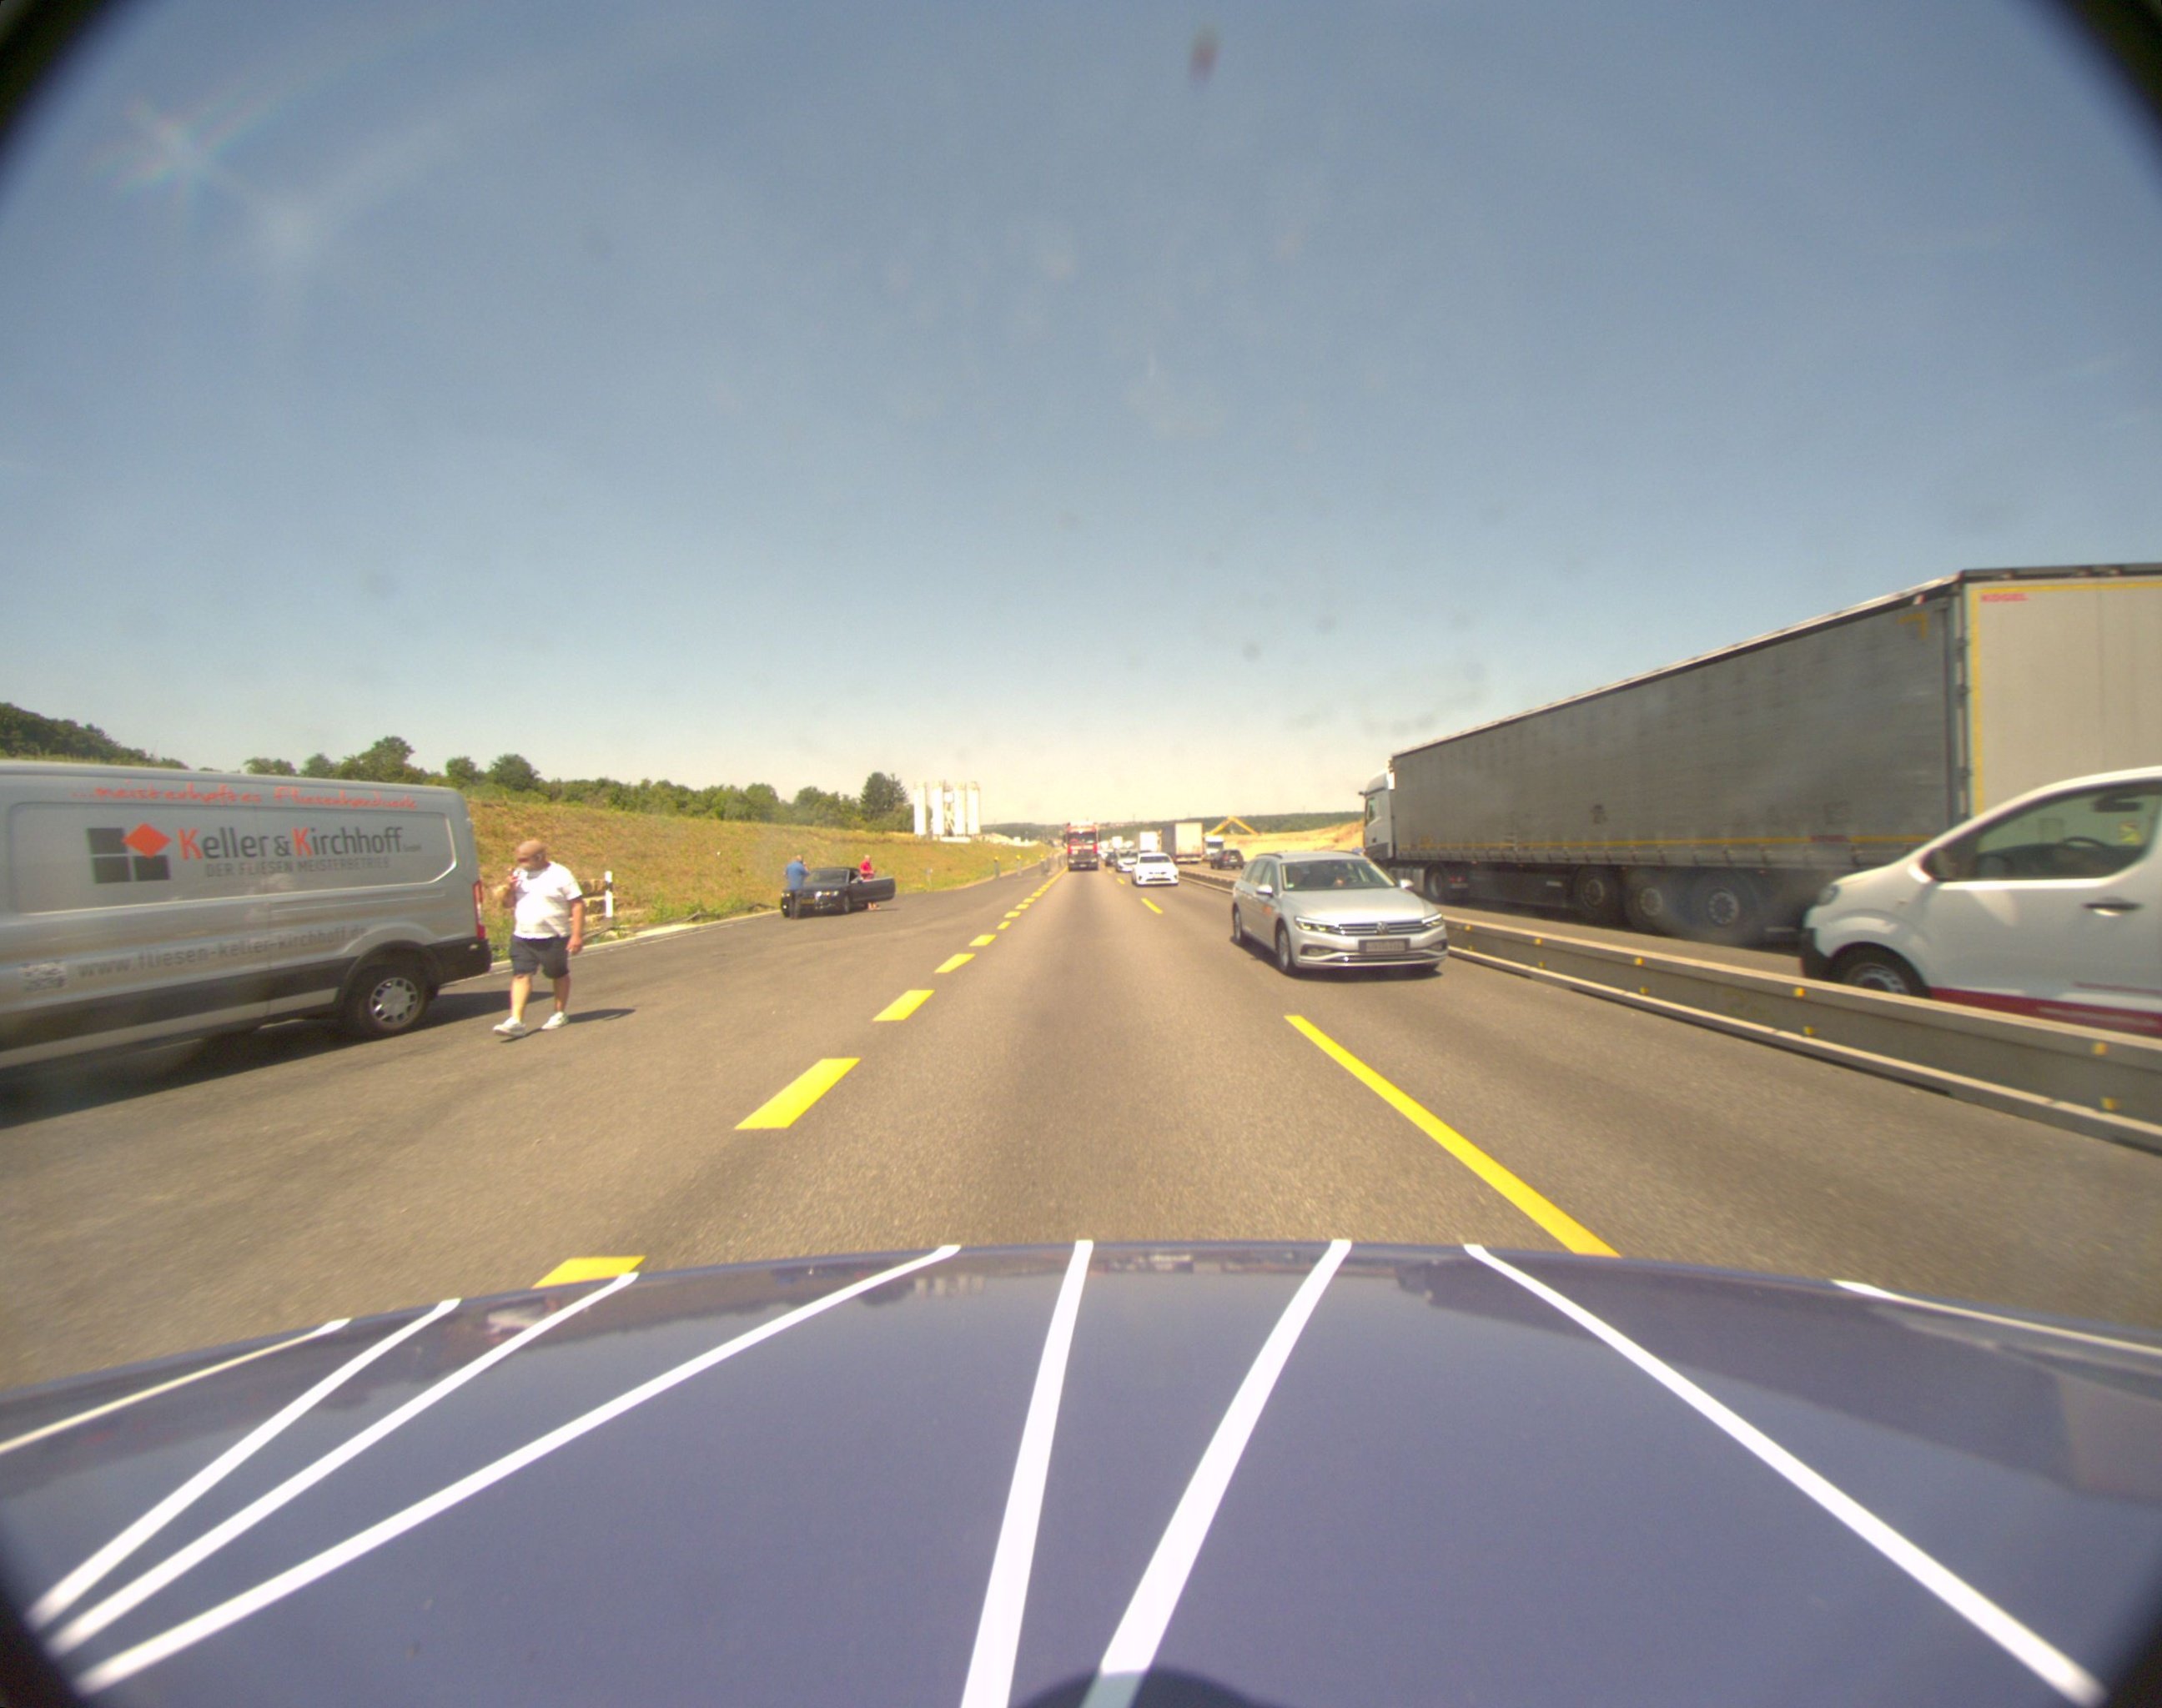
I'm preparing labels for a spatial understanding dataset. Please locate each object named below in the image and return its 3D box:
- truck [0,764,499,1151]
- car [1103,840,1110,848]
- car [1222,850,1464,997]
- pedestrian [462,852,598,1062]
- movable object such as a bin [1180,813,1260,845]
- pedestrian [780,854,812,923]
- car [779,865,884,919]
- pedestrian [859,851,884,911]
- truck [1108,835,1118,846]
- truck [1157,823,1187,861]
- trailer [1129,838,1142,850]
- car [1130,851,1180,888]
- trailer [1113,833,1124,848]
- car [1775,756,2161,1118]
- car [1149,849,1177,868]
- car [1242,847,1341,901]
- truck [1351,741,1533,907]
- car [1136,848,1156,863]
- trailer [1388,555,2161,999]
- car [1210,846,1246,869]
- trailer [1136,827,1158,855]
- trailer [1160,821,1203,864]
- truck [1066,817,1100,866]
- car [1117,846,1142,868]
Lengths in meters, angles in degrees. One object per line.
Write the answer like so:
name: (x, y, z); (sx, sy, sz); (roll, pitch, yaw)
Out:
truck: (-7.835, 0.689, 5.440); (2.134, 2.442, 5.928); (-3, 0, 8)
car: (7.799, -2.999, 231.565); (1.999, 2.279, 5.342); (-2, 1, 0)
car: (3.203, 0.735, 10.233); (1.804, 1.499, 4.100); (-2, 0, 0)
pedestrian: (-5.131, 0.907, 7.132); (0.726, 1.818, 0.719); (-3, 2, -15)
movable object such as a bin: (33.401, -5.991, 182.874); (18.266, 6.735, 3.387); (-2, 2, 0)
pedestrian: (-7.721, 0.929, 20.623); (0.626, 1.817, 0.642); (-3, 1, -11)
car: (-7.536, 1.082, 23.407); (1.658, 1.418, 4.545); (0, 0, 1)
pedestrian: (-6.624, 0.845, 24.024); (0.643, 1.817, 0.558); (-3, 1, -20)
truck: (10.444, -4.491, 249.527); (2.651, 3.695, 9.480); (-2, 1, 1)
truck: (10.294, -1.372, 86.280); (2.598, 4.030, 5.149); (-2, 1, 0)
trailer: (11.554, -2.123, 161.499); (2.317, 2.671, 6.754); (0, 1, -1)
car: (3.239, 0.620, 33.794); (1.875, 1.390, 4.029); (-2, 1, 1)
trailer: (10.995, -4.070, 223.892); (2.861, 4.071, 13.649); (-1, 1, 0)
car: (6.612, 0.416, 3.595); (1.830, 1.916, 5.262); (-2, 1, 0)
car: (6.837, 0.327, 63.803); (1.733, 1.379, 4.859); (-2, 1, 0)
car: (6.335, 0.541, 23.363); (1.731, 1.379, 4.483); (-2, 1, 0)
truck: (9.886, -0.802, 21.418); (2.775, 4.021, 4.942); (-2, 2, 1)
car: (7.033, 0.146, 82.730); (1.780, 1.546, 4.138); (0, 1, 0)
trailer: (9.828, -0.768, 13.914); (2.797, 4.051, 13.709); (-2, 0, 0)
car: (10.455, 0.217, 54.441); (1.634, 1.416, 4.500); (-2, 1, 0)
trailer: (10.603, -2.080, 123.415); (2.508, 4.155, 15.531); (0, 1, 1)
trailer: (10.213, -1.193, 78.911); (2.660, 3.915, 13.994); (-2, 1, 1)
truck: (0.272, -1.143, 65.069); (2.537, 3.799, 9.479); (-2, 1, 1)
car: (3.482, 0.191, 55.210); (1.601, 1.390, 3.694); (-2, 1, 1)
